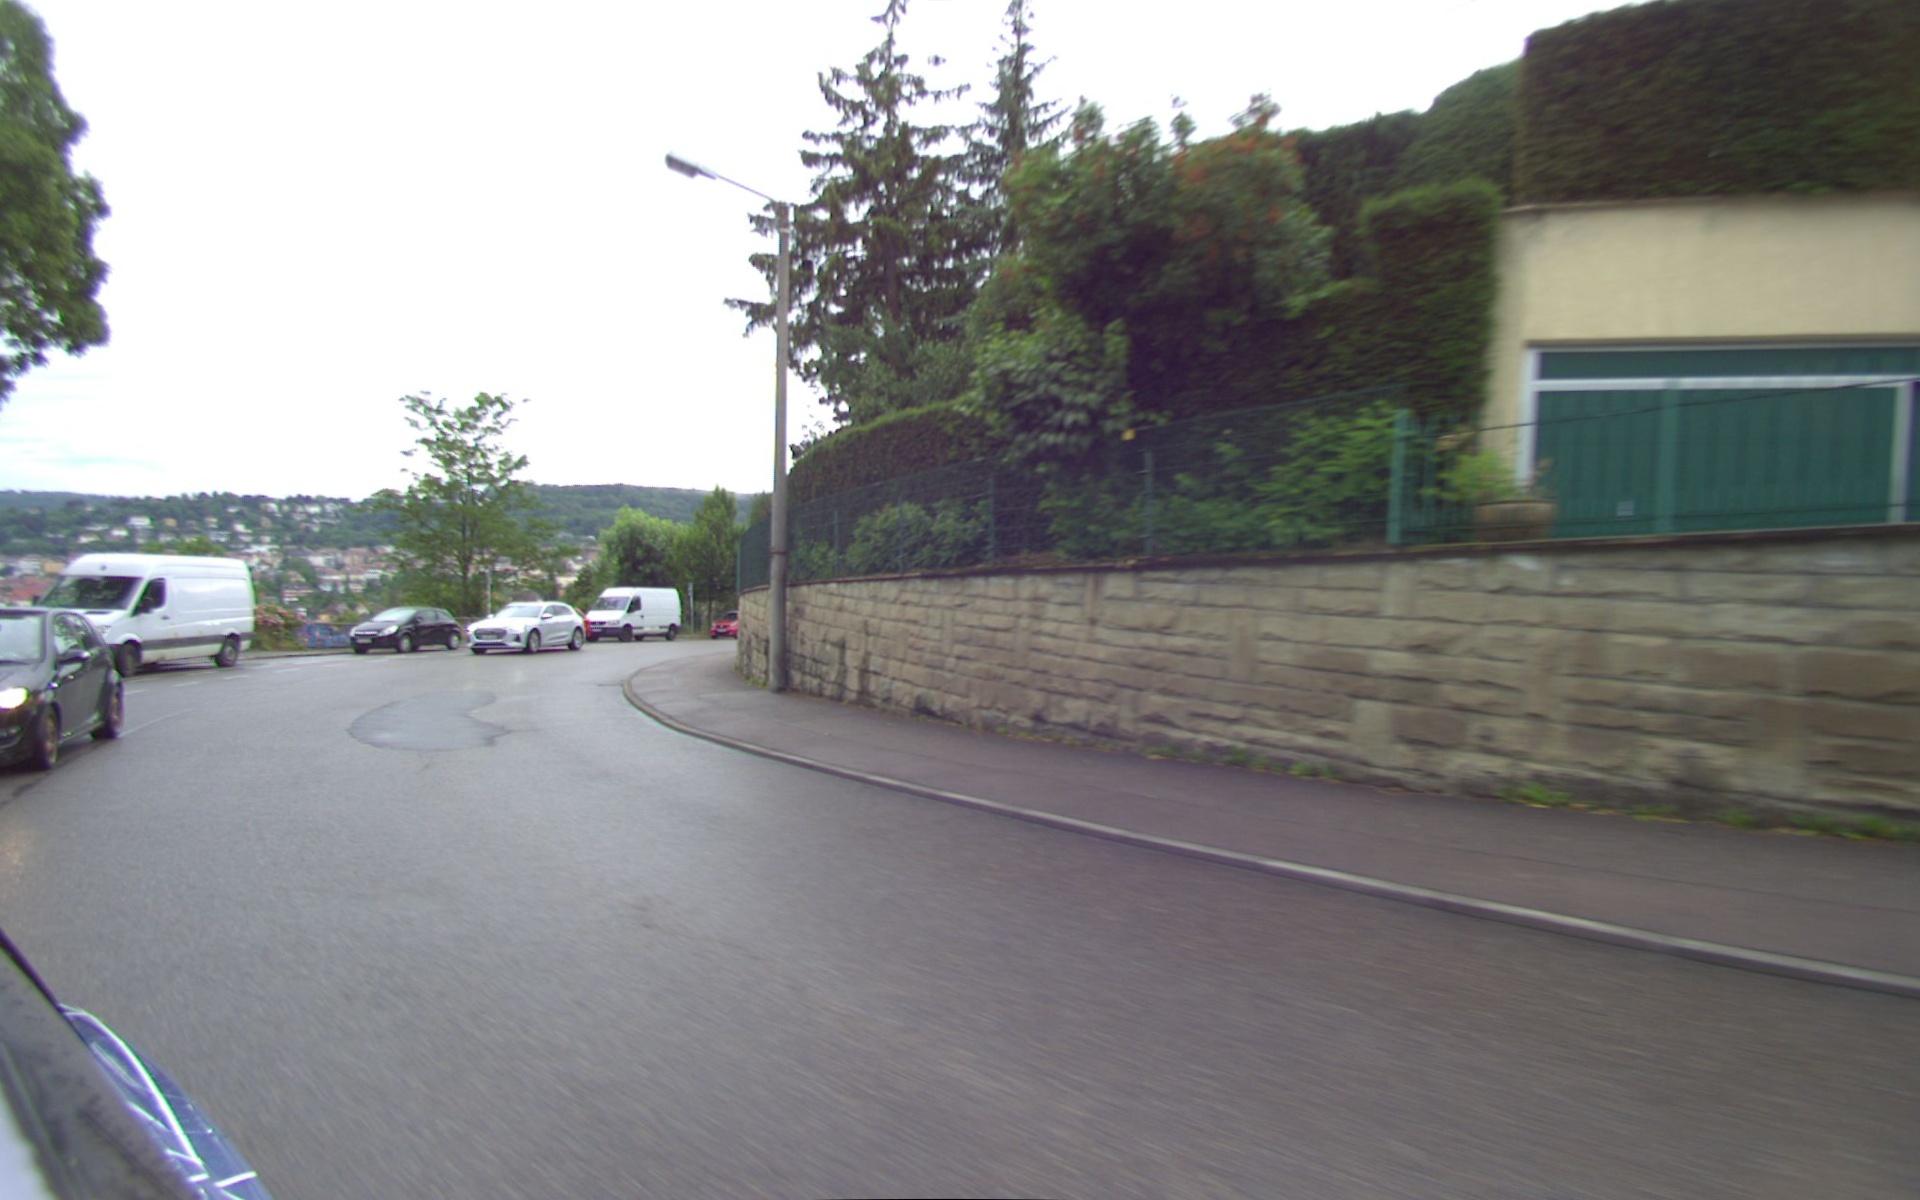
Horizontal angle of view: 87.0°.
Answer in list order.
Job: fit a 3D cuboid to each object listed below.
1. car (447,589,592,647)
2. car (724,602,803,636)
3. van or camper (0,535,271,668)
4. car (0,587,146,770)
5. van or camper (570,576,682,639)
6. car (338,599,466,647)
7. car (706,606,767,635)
[{"bbox_3d":[-14.047,0.547,32.666,2.166,1.721,4.872,0,0,7],"label":"car"},{"bbox_3d":[-8.833,0.854,45.815,1.778,1.445,4.091,1,-1,17],"label":"car"},{"bbox_3d":[-18.359,0.073,23.009,2.040,2.600,5.899,1,-1,-9],"label":"van or camper"},{"bbox_3d":[-9.530,0.659,9.843,1.754,1.497,4.419,0,0,-29],"label":"car"},{"bbox_3d":[-15.021,0.379,45.970,2.062,2.681,5.566,0,-1,16],"label":"van or camper"},{"bbox_3d":[-18.151,0.744,33.122,1.680,1.455,3.938,-1,-1,7],"label":"car"},{"bbox_3d":[-12.262,1.139,55.664,1.672,1.551,3.813,0,-1,16],"label":"car"}]
